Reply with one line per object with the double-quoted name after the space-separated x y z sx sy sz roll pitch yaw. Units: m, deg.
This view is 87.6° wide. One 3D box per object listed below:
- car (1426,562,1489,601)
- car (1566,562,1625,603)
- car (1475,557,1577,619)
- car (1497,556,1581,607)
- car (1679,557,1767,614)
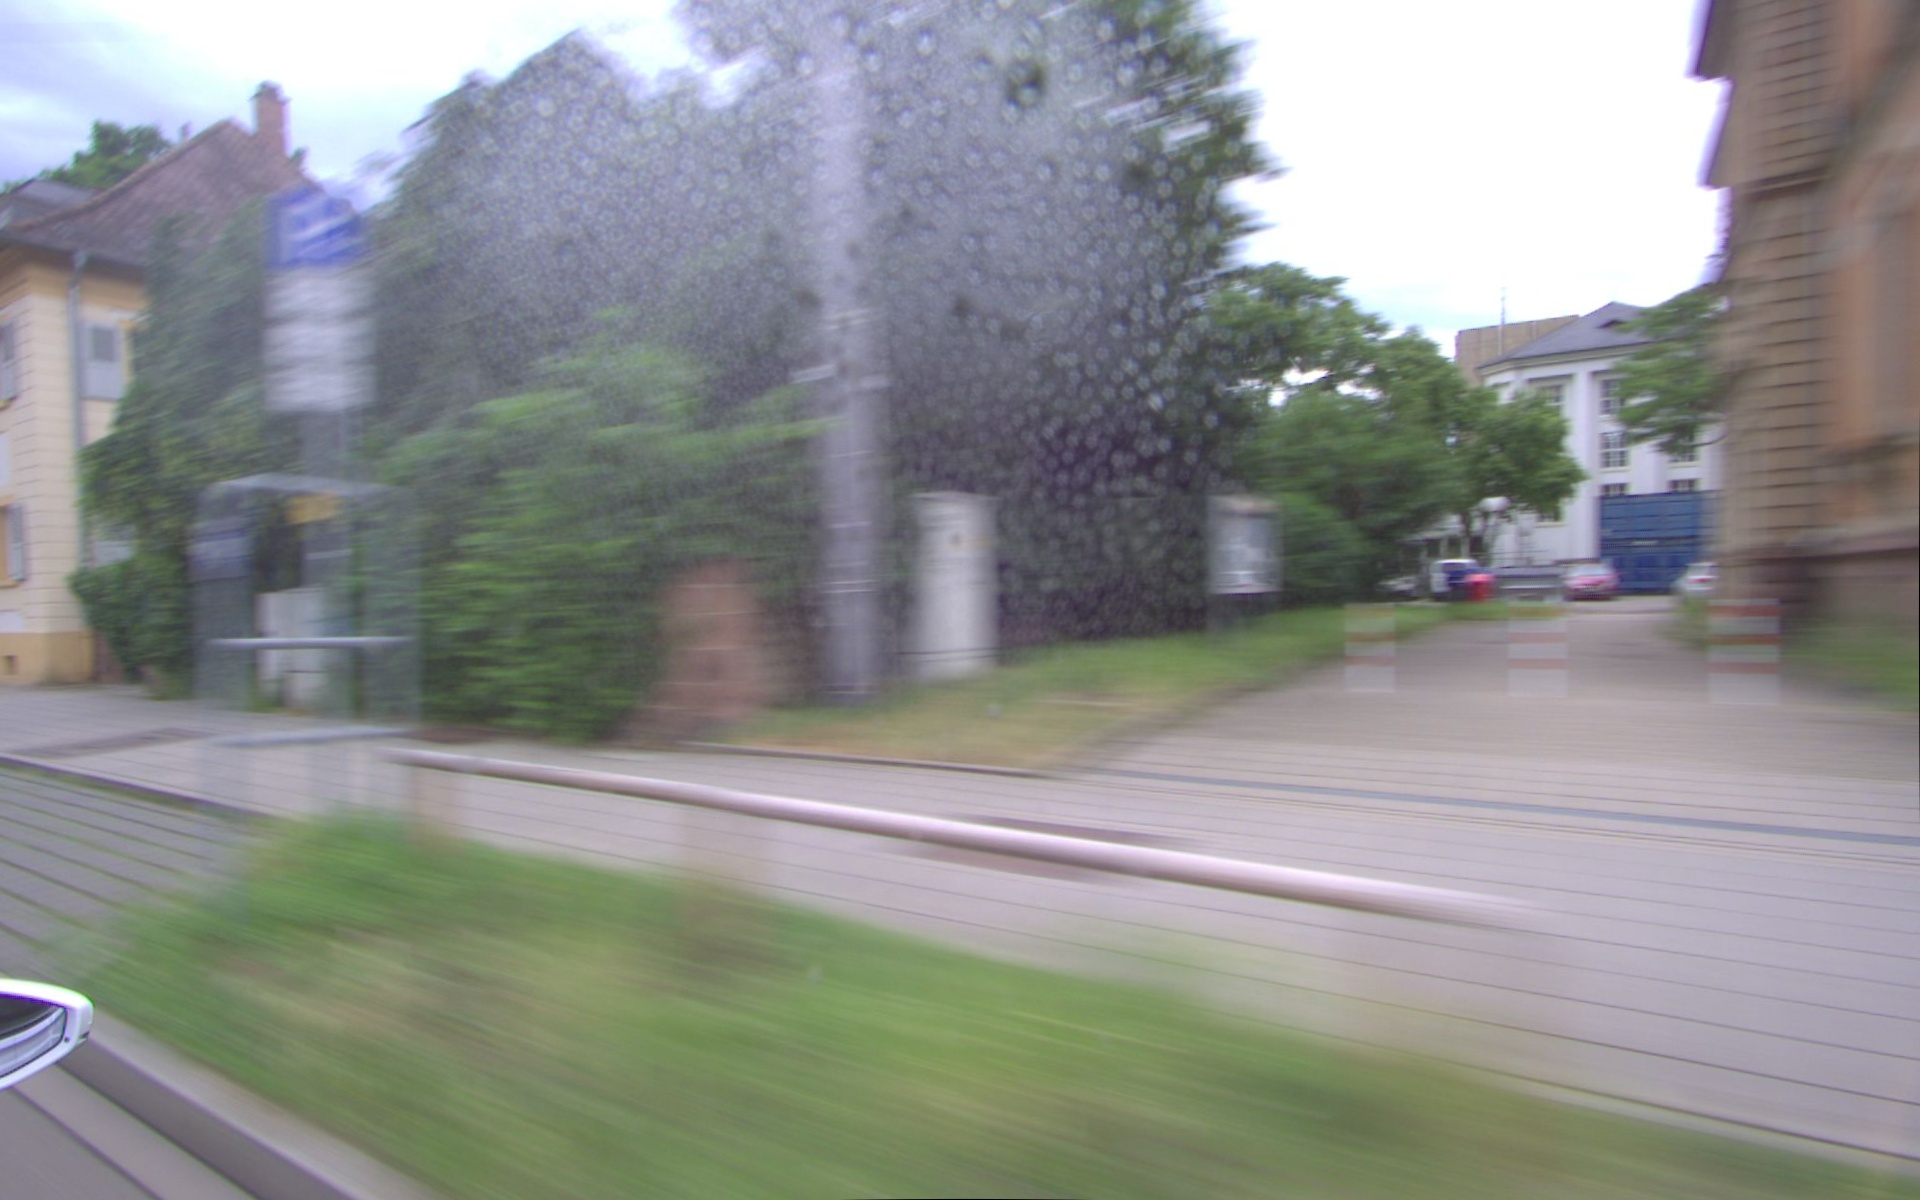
21.348 -0.779 42.936 1.738 1.550 3.973 -2 0 36 "car"
26.042 -0.707 41.005 1.738 1.550 3.973 -2 0 36 "car"
15.846 -0.309 27.955 1.983 1.550 3.973 -2 0 37 "car"
19.623 -0.598 33.864 1.983 1.550 3.973 -2 0 37 "car"
22.861 -0.421 30.094 1.983 1.550 3.973 -2 0 37 "car"
